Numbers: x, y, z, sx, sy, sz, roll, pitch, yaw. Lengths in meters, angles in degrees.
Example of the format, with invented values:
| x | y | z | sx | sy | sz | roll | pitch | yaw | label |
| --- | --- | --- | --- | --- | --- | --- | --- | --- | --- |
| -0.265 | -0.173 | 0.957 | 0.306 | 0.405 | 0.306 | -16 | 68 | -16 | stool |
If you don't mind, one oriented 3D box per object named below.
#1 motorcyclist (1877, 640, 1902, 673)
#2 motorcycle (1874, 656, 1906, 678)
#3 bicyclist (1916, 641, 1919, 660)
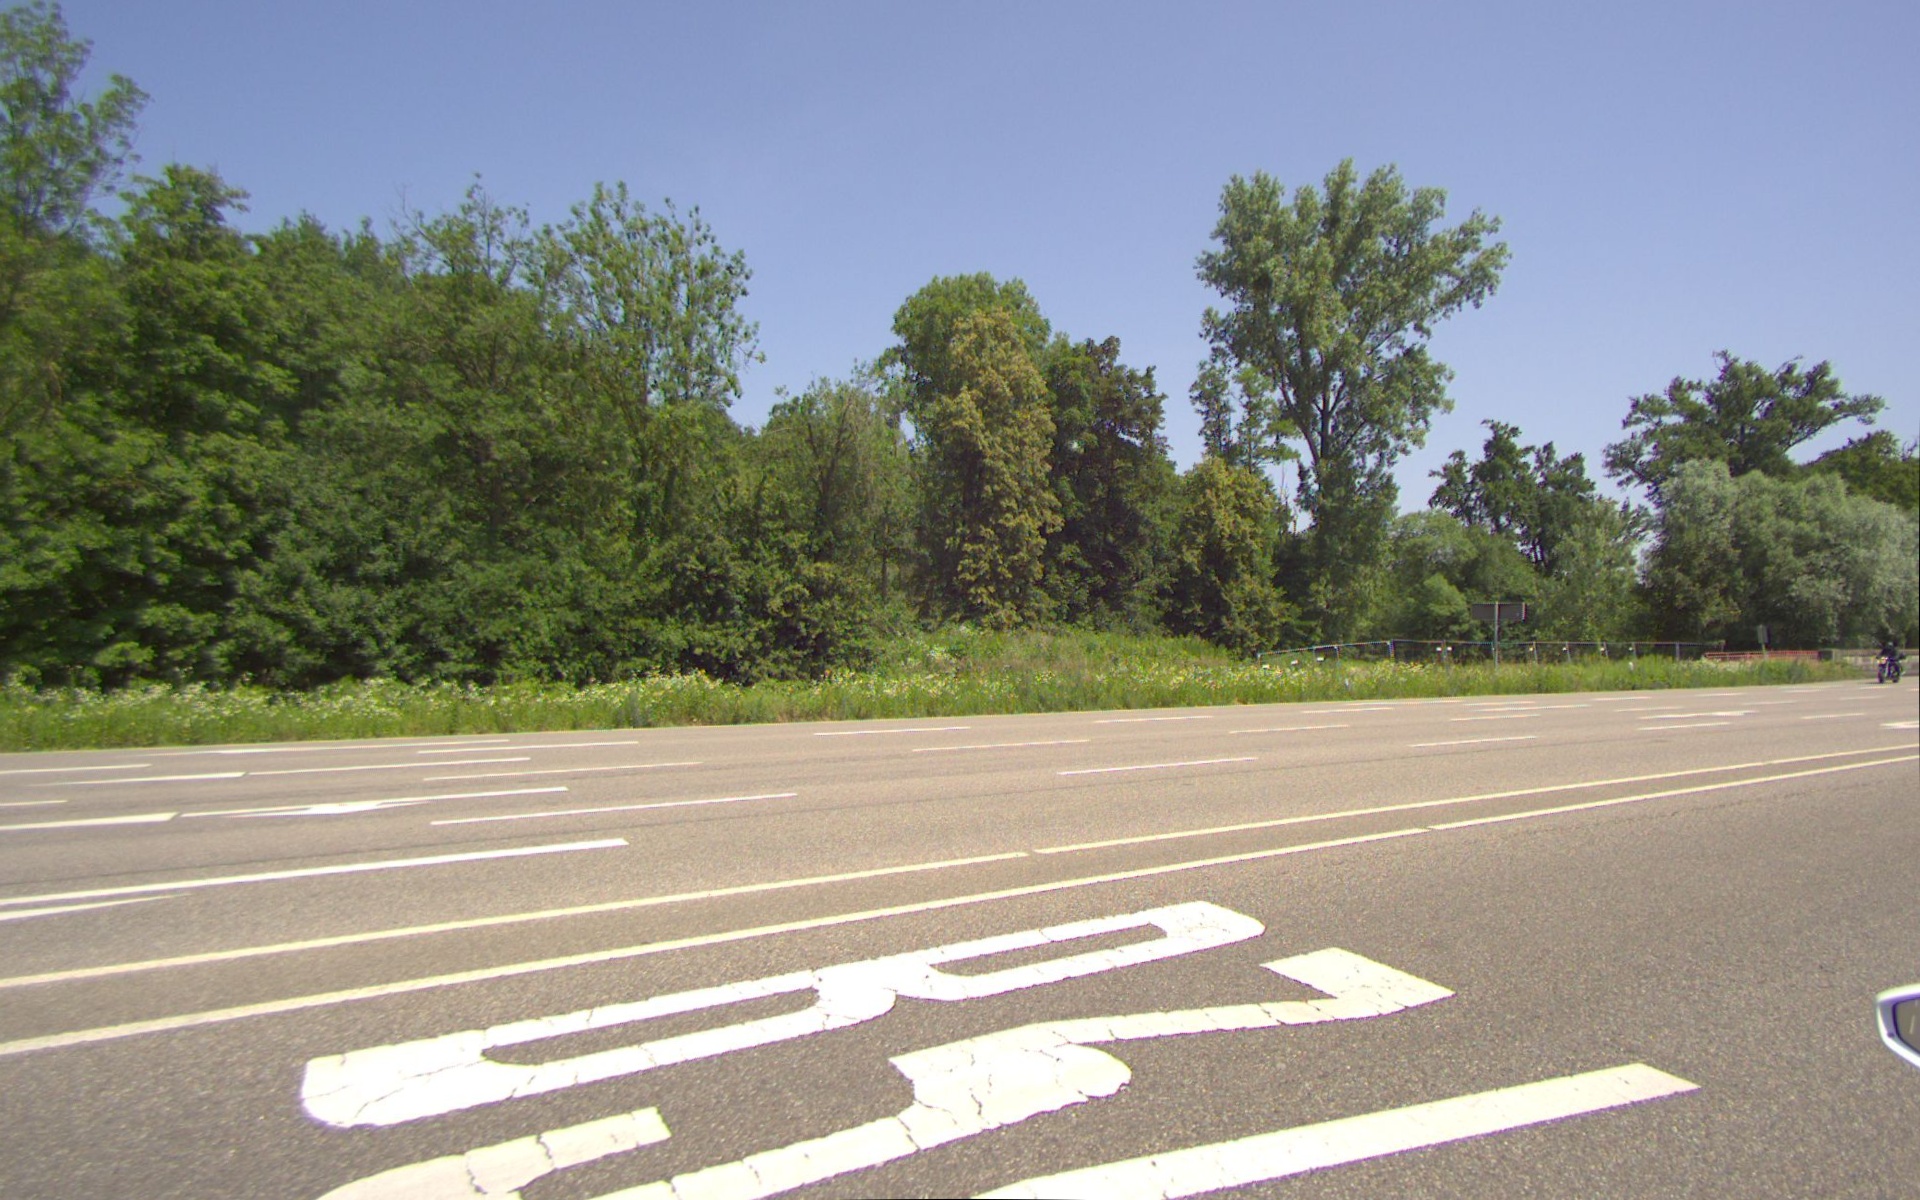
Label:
| x | y | z | sx | sy | sz | roll | pitch | yaw | label |
| --- | --- | --- | --- | --- | --- | --- | --- | --- | --- |
| 39.365 | 2.376 | 42.542 | 0.746 | 1.371 | 0.574 | 1 | -3 | -32 | motorcyclist |
| 39.351 | 2.846 | 42.515 | 1.889 | 0.904 | 0.514 | 2 | -3 | -32 | motorcycle |
| 59.976 | 3.121 | 62.319 | 0.583 | 1.211 | 0.756 | 0 | -3 | -19 | bicyclist |
